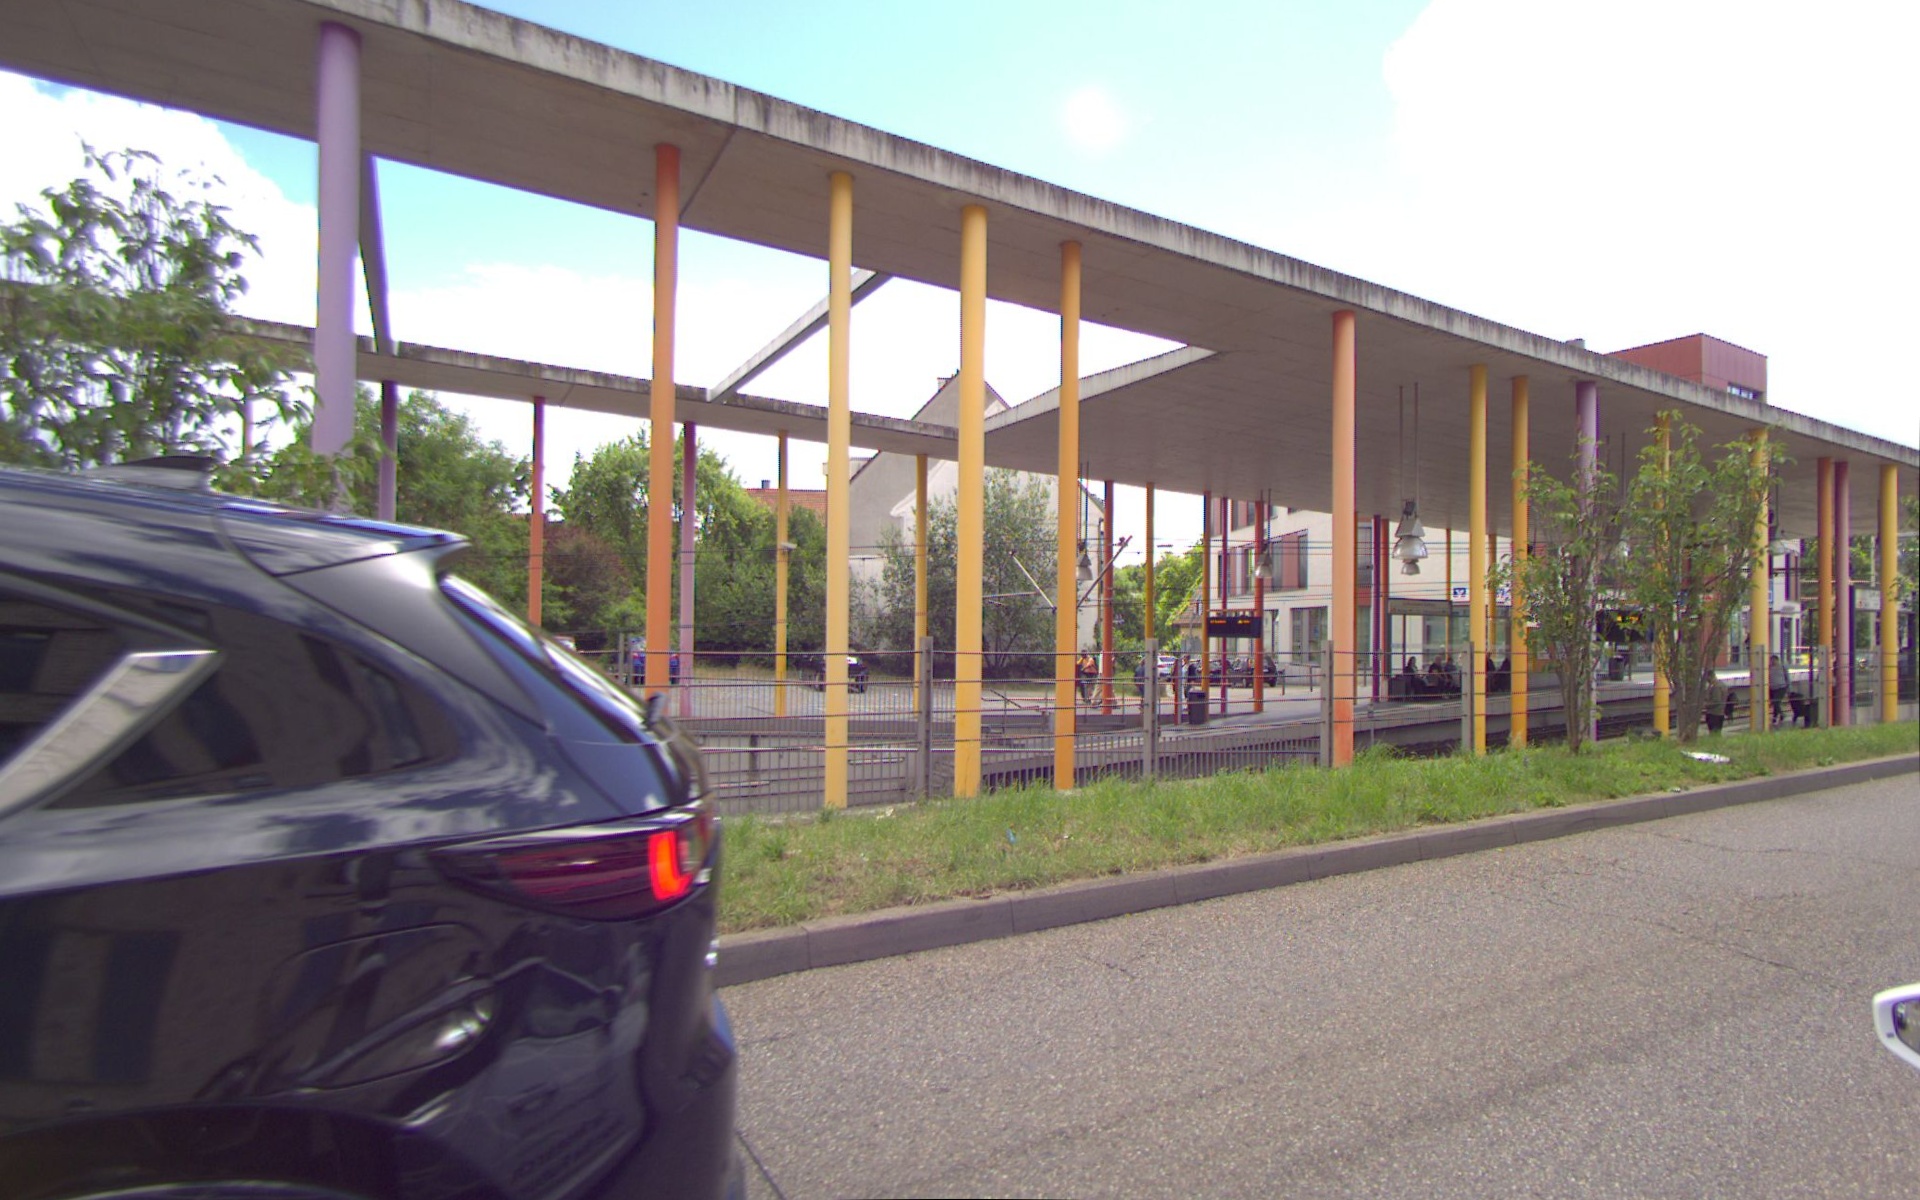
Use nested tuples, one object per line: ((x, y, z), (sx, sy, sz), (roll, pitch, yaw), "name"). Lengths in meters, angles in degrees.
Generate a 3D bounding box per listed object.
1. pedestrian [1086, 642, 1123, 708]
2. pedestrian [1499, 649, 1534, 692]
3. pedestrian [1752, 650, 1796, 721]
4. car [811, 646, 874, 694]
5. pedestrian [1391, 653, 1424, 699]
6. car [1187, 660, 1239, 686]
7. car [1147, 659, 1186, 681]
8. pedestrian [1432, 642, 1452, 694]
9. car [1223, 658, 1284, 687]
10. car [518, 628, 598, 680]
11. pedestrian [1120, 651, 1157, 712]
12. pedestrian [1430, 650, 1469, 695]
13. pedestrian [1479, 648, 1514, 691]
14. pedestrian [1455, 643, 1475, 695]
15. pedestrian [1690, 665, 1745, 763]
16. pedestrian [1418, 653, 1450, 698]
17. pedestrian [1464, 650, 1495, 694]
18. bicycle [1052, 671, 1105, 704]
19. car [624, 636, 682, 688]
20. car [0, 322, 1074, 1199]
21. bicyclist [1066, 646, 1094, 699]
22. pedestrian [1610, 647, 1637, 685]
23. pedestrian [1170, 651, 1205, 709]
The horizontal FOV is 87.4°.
((4.267, 2.212, 29.674), (0.791, 1.908, 0.639), (3, -1, -30), "pedestrian")
((19.075, 2.412, 34.438), (0.693, 1.397, 0.819), (0, 0, -29), "pedestrian")
((19.595, 2.039, 24.178), (0.628, 1.635, 0.626), (0, 0, -29), "pedestrian")
((-4.077, 2.349, 34.349), (1.544, 1.354, 3.988), (3, -1, -14), "car")
((14.266, 2.418, 32.006), (0.696, 1.397, 0.683), (0, 0, -29), "pedestrian")
((14.117, 4.078, 56.257), (1.617, 1.341, 3.716), (3, -5, -6), "car")
((13.576, 4.635, 66.211), (1.615, 1.341, 3.720), (2, -5, -2), "car")
((17.690, 2.486, 36.869), (0.487, 1.845, 0.480), (0, 1, -33), "pedestrian")
((14.840, 3.688, 50.968), (1.617, 1.341, 3.716), (3, -5, -6), "car")
((-12.147, 1.593, 30.560), (1.697, 1.354, 3.988), (3, -1, -14), "car")
((5.075, 2.316, 28.560), (0.722, 1.683, 0.639), (3, -1, -30), "pedestrian")
((16.170, 2.394, 33.180), (0.693, 1.397, 0.922), (0, 0, -29), "pedestrian")
((18.155, 2.342, 33.995), (0.693, 1.397, 0.819), (0, 0, -29), "pedestrian")
((18.139, 2.472, 36.093), (0.487, 1.799, 0.480), (0, 1, -33), "pedestrian")
((14.942, 2.236, 19.816), (0.701, 1.854, 0.584), (3, -1, -28), "pedestrian")
((15.449, 2.461, 32.733), (0.693, 1.397, 0.648), (0, 0, -29), "pedestrian")
((17.357, 2.388, 33.545), (0.693, 1.397, 0.648), (0, 0, -29), "pedestrian")
((3.679, 2.709, 31.152), (1.593, 0.975, 0.482), (3, -1, -28), "bicycle")
((-9.709, 1.938, 31.980), (1.544, 1.419, 3.988), (3, -1, -14), "car")
((-2.276, 0.553, 1.032), (4.576, 1.626, 1.909), (2, -1, -32), "car")
((3.722, 2.244, 31.186), (0.673, 1.614, 0.482), (3, -1, -28), "bicyclist")
((29.793, 2.951, 45.094), (0.833, 1.671, 0.653), (3, -1, -30), "pedestrian")
((6.837, 2.413, 30.183), (0.722, 1.683, 0.639), (3, -1, -30), "pedestrian")
